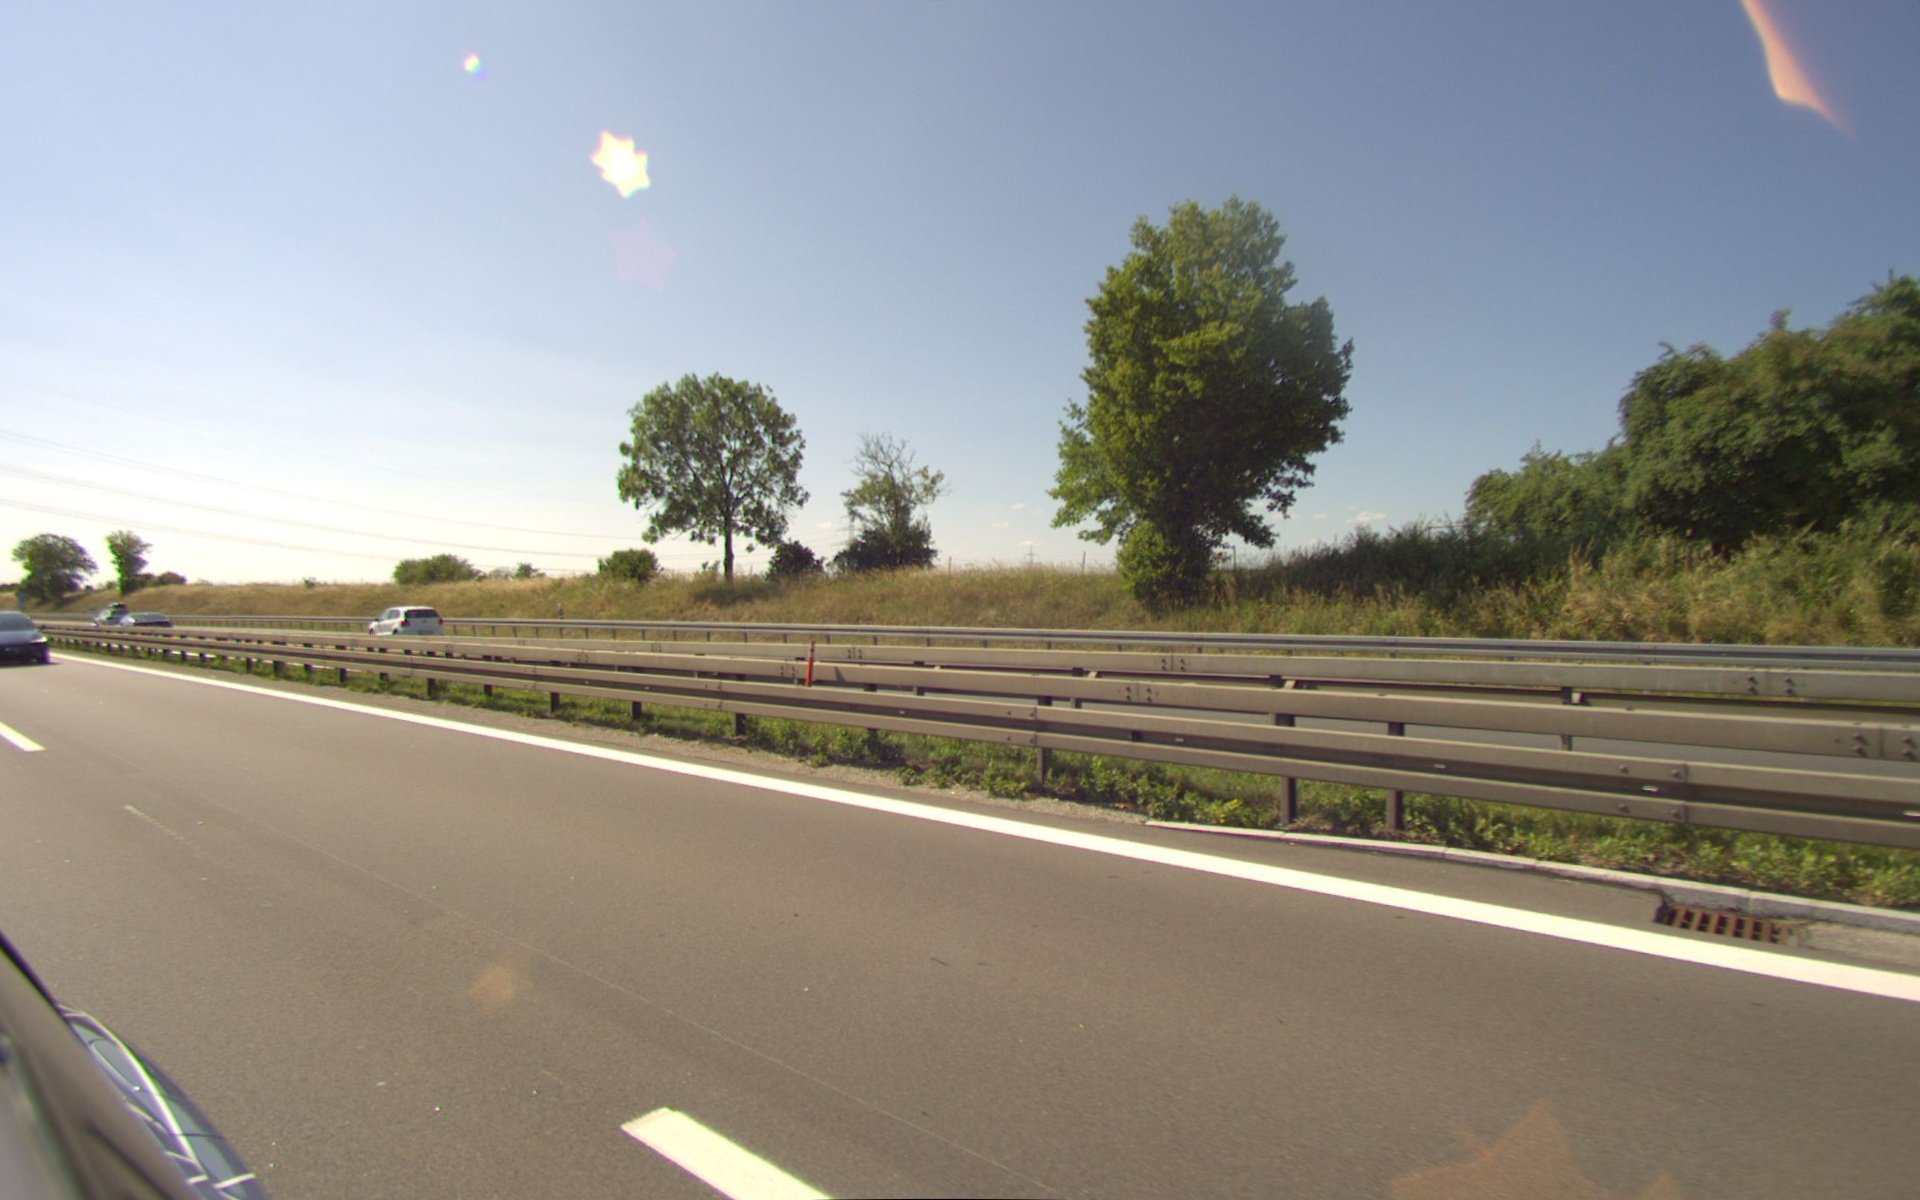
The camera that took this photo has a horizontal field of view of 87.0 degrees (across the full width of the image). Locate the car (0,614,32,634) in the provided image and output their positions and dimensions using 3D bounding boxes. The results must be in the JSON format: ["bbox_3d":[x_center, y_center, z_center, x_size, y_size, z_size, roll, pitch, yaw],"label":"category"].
[{"bbox_3d":[-77.277,1.974,82.770,3.998,1.542,1.599,-1,0,41],"label":"car"}]

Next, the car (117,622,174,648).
[{"bbox_3d":[-38.823,1.626,48.192,3.764,1.165,1.506,-1,0,41],"label":"car"}]

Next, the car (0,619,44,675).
[{"bbox_3d":[-26.981,1.239,27.943,5.863,1.443,1.828,-1,-2,41],"label":"car"}]

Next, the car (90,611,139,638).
[{"bbox_3d":[-61.408,1.748,73.467,5.182,1.859,1.925,-1,0,41],"label":"car"}]

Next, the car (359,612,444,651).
[{"bbox_3d":[-21.261,1.175,38.465,4.230,1.362,1.506,-1,0,41],"label":"car"}]
